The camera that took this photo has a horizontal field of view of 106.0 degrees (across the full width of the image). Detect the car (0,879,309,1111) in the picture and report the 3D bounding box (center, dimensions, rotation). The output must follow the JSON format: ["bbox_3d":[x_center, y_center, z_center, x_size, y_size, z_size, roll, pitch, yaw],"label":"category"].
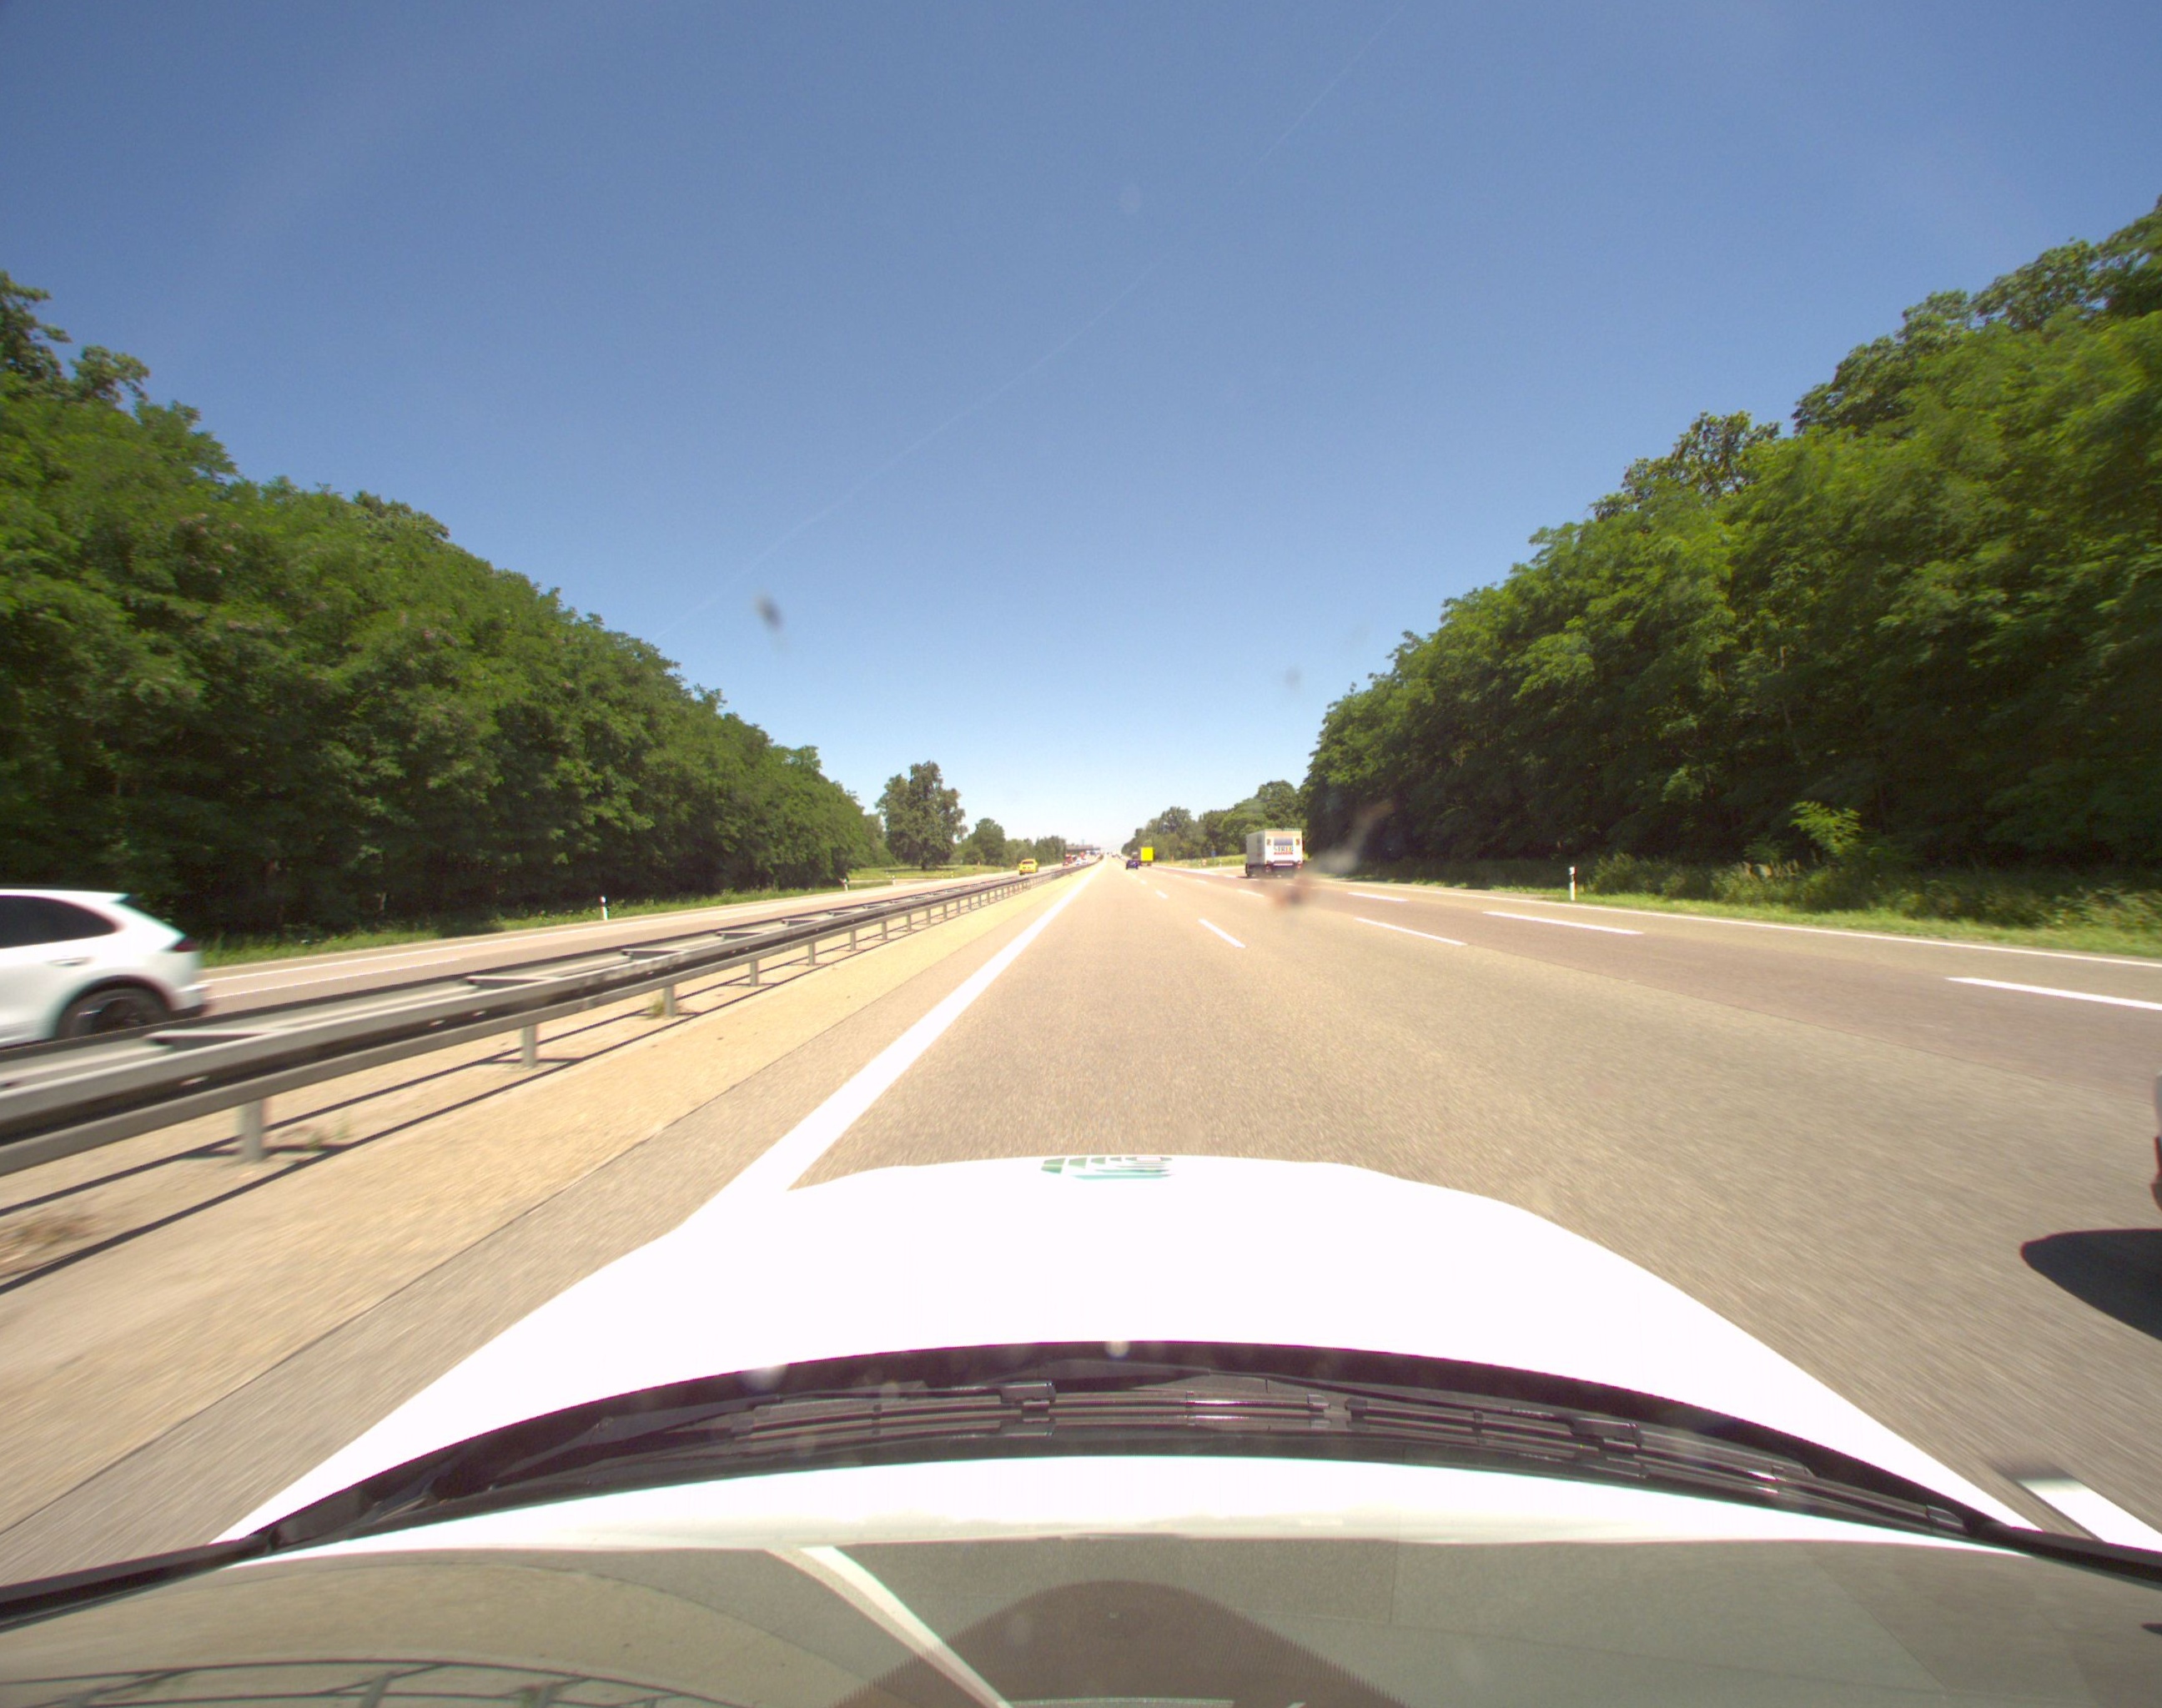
[{"bbox_3d":[-9.430,1.165,6.176,1.986,1.706,5.267,-1,1,2],"label":"car"}]

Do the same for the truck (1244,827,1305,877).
[{"bbox_3d":[14.054,-0.122,60.124,3.013,3.319,10.789,-1,-1,6],"label":"truck"}]

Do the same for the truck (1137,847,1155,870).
[{"bbox_3d":[14.430,0.963,181.960,3.363,4.881,15.096,-1,-1,3],"label":"truck"}]

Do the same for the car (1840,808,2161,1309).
[{"bbox_3d":[4.320,0.625,1.289,1.820,1.608,4.810,-1,-1,2],"label":"car"}]

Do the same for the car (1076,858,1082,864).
[{"bbox_3d":[-0.543,2.248,256.074,1.756,1.692,4.821,-2,-1,2],"label":"car"}]

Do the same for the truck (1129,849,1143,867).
[{"bbox_3d":[15.295,1.160,227.337,3.353,4.881,15.096,-1,-1,3],"label":"truck"}]

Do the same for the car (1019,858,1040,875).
[{"bbox_3d":[-6.174,1.444,97.424,1.986,1.964,5.213,-1,-1,2],"label":"car"}]

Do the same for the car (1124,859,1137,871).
[{"bbox_3d":[7.229,1.550,118.717,1.820,1.706,4.001,-1,-1,2],"label":"car"}]
